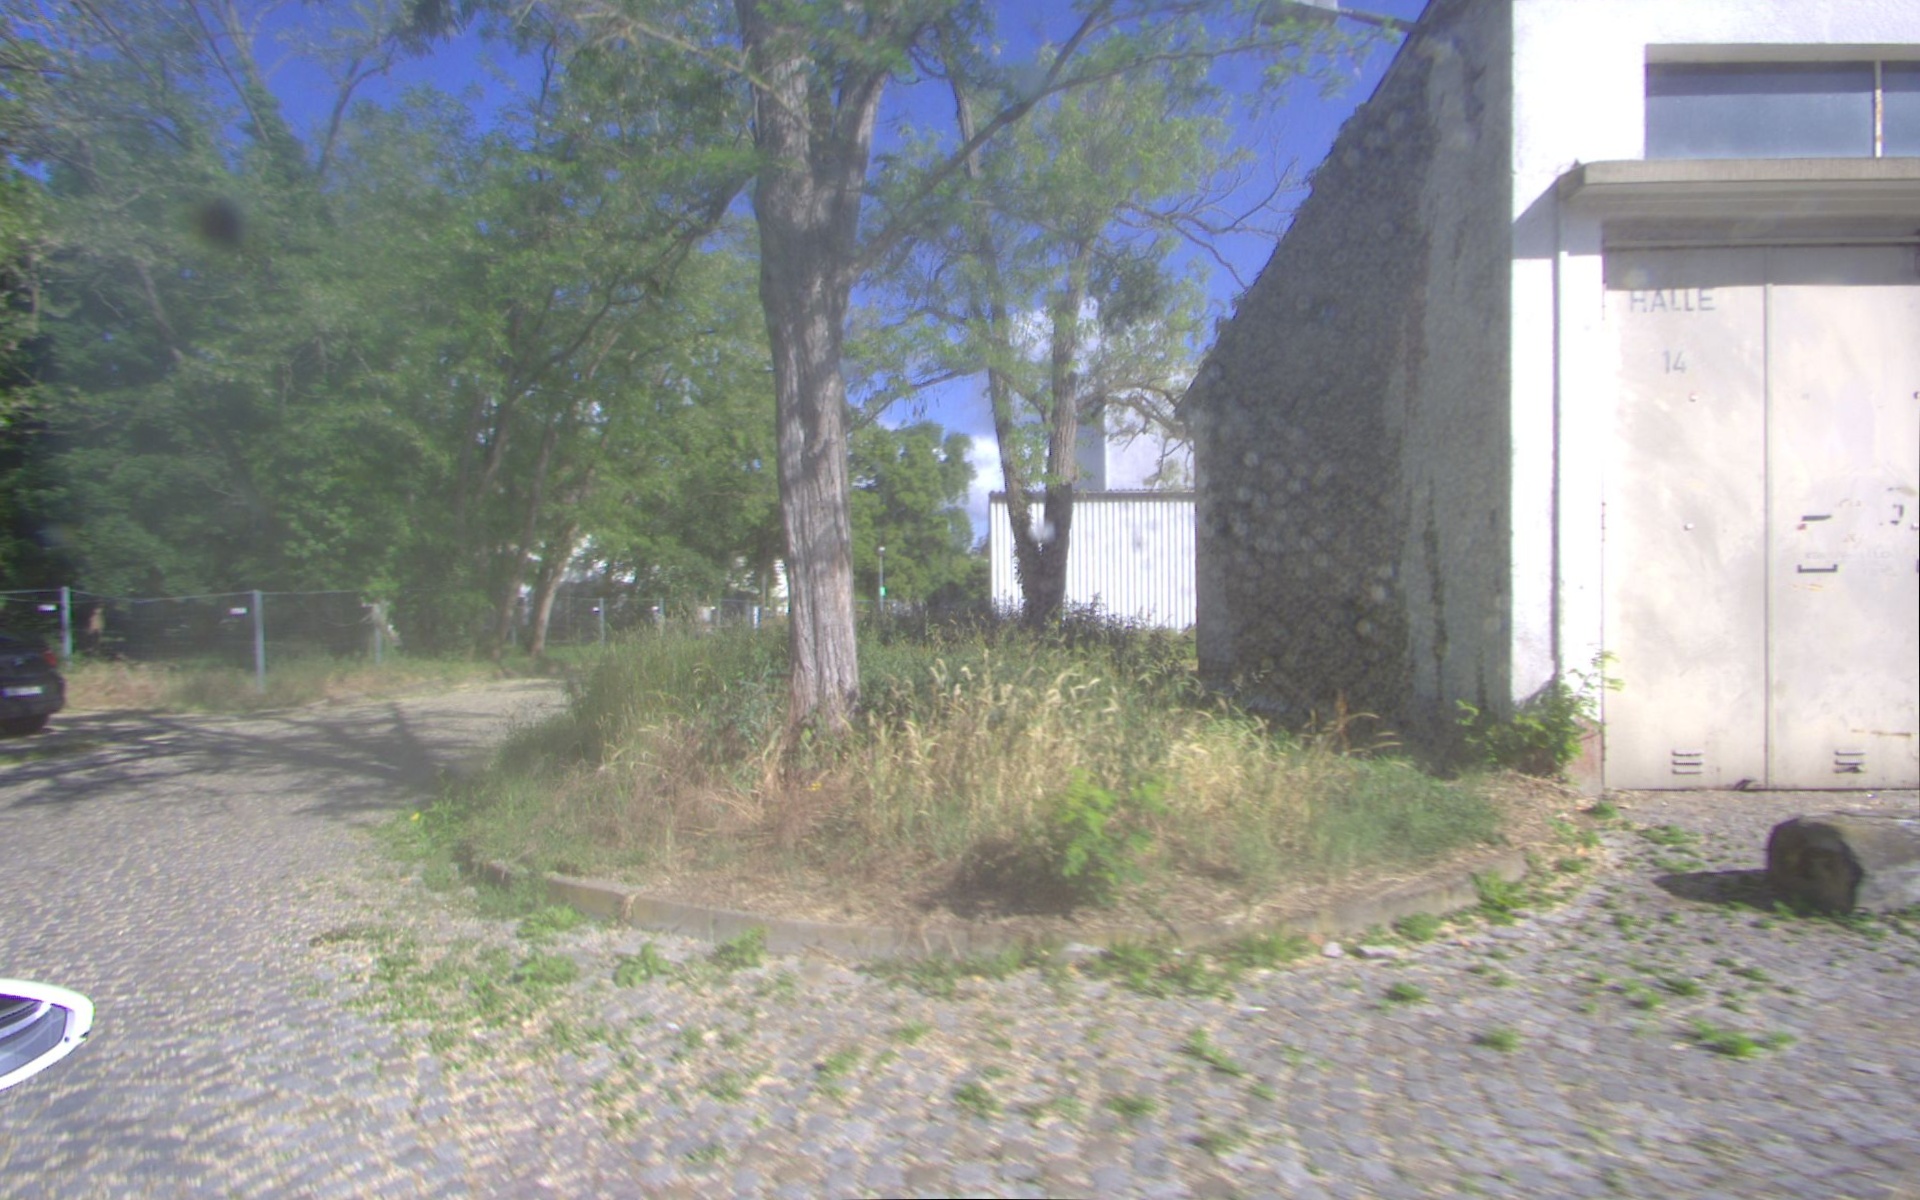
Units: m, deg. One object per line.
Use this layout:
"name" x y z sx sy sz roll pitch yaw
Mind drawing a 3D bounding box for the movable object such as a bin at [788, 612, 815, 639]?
"movable object such as a bin" -8.538 1.368 53.987 1.266 1.445 1.032 -1 0 -1

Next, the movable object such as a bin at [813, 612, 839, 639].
"movable object such as a bin" -7.226 1.384 53.946 1.266 1.445 1.032 -1 0 -1

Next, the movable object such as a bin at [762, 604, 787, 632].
"movable object such as a bin" -9.970 0.961 53.896 1.066 1.457 1.056 -1 0 3

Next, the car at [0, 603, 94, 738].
"car" -13.981 0.787 12.741 4.191 1.610 1.829 3 0 -3
